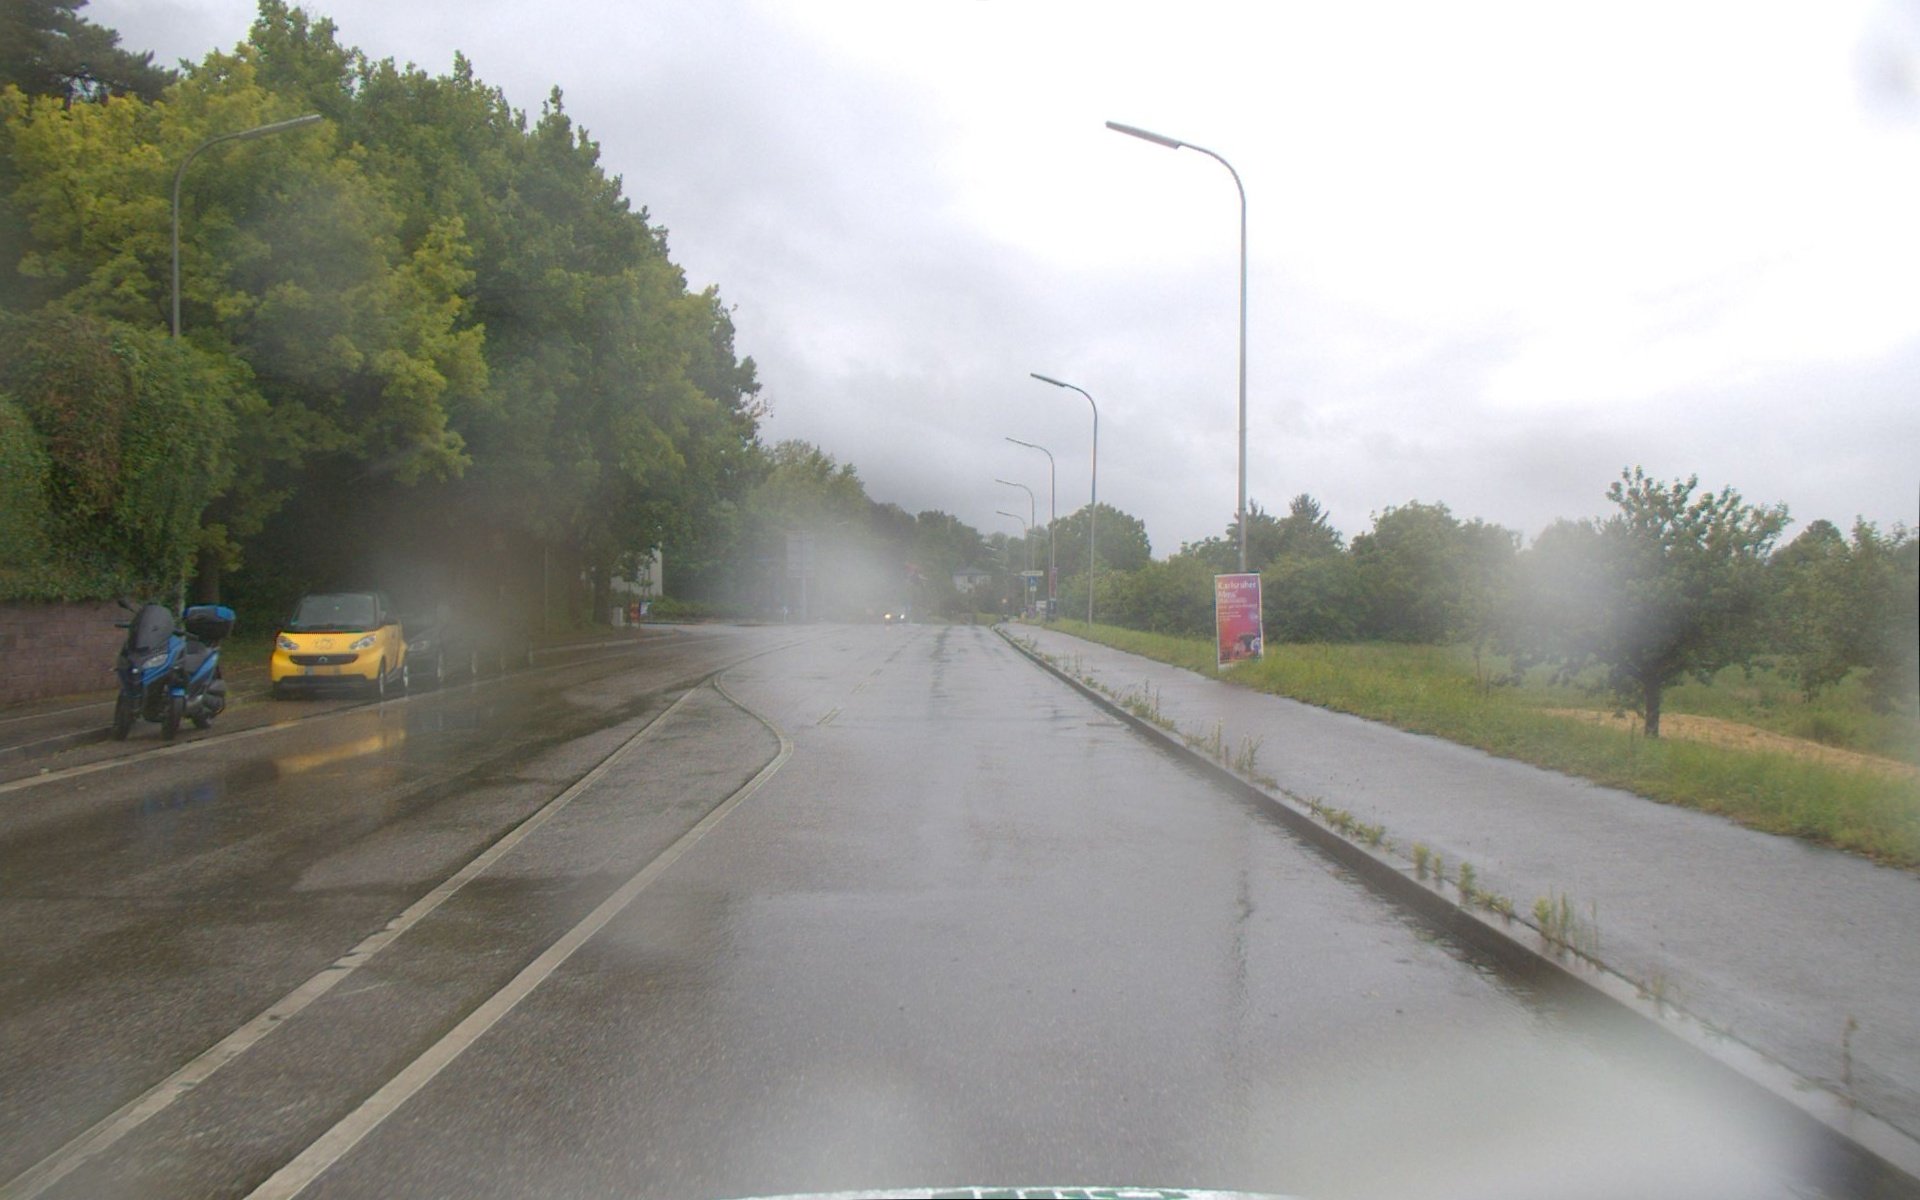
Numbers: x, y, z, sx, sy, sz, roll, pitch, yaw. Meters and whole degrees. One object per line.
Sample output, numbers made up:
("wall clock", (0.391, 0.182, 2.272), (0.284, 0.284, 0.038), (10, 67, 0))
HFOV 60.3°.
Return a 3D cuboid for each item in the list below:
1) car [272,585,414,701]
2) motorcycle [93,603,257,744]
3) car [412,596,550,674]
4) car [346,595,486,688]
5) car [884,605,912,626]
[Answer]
("car", (-8.898, 0.586, 24.030), (1.407, 1.564, 2.813), (-1, 0, -10))
("motorcycle", (-8.201, 0.722, 17.416), (0.821, 1.364, 2.495), (-1, 0, -8))
("car", (-9.595, 0.668, 33.488), (1.653, 1.444, 4.738), (-1, 0, -4))
("car", (-9.117, 0.652, 28.013), (1.406, 1.444, 4.098), (-1, 0, -6))
("car", (-5.389, 1.320, 144.613), (1.756, 1.793, 4.003), (1, 0, 9))
